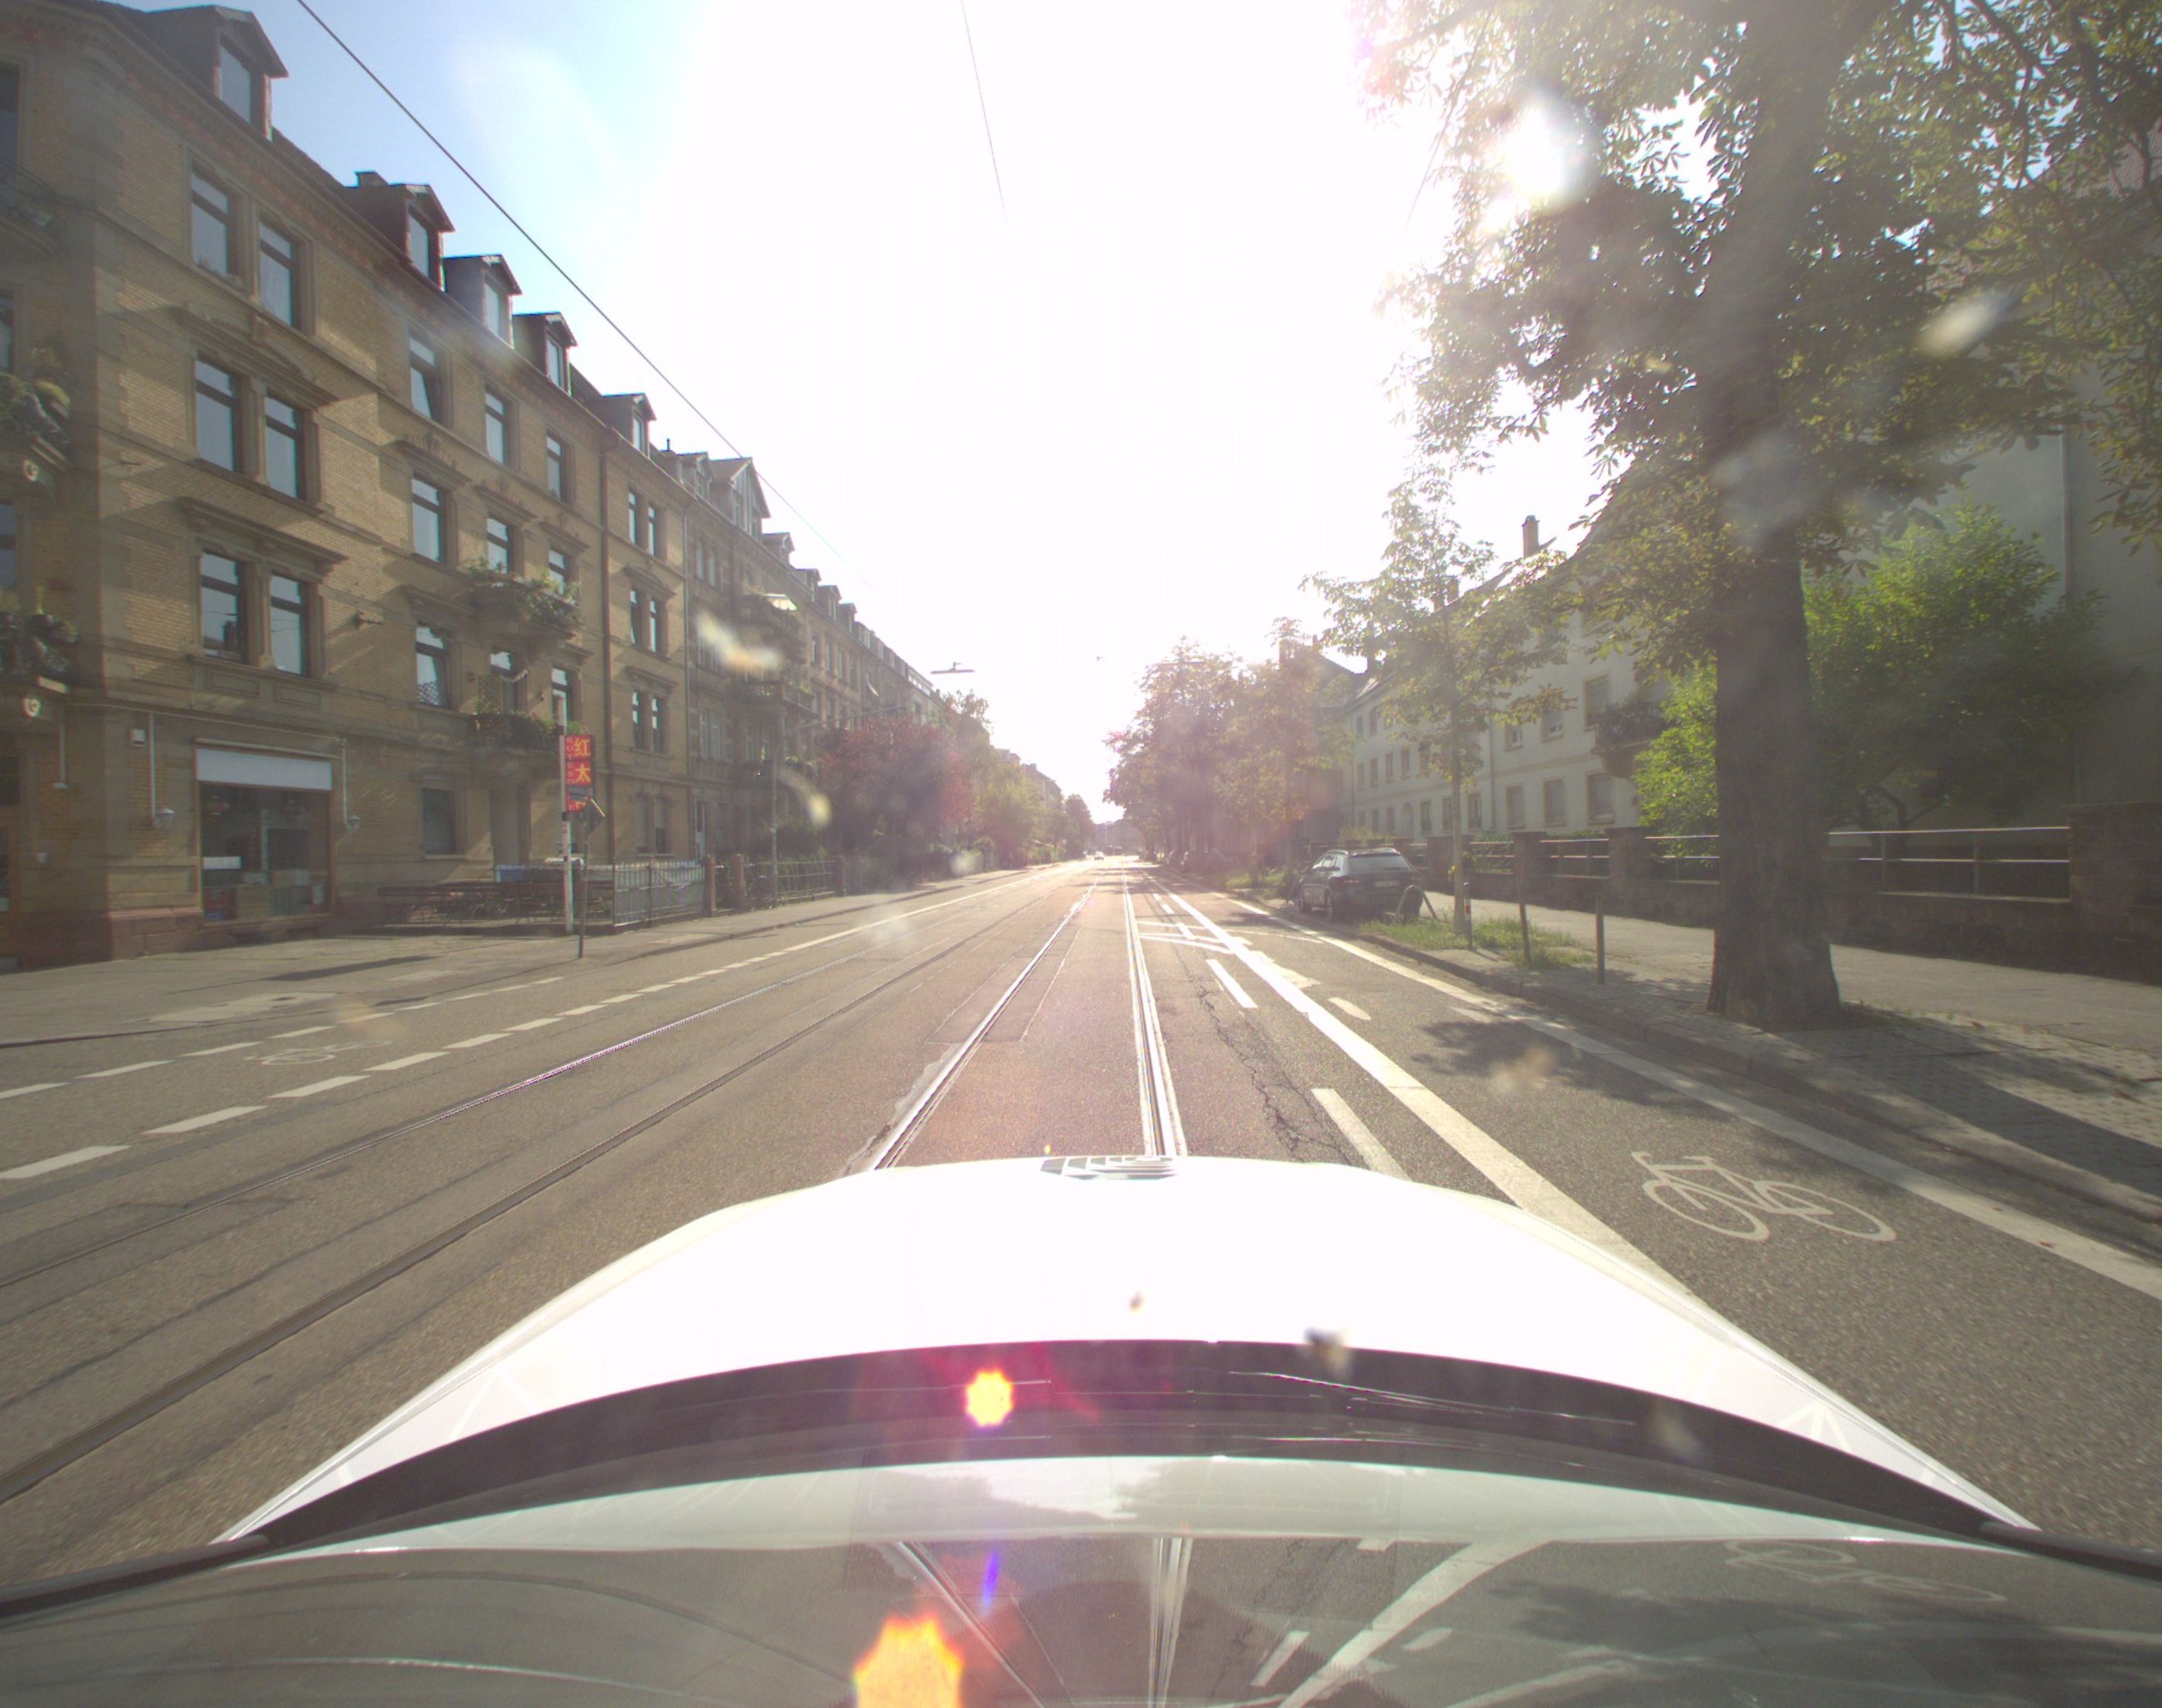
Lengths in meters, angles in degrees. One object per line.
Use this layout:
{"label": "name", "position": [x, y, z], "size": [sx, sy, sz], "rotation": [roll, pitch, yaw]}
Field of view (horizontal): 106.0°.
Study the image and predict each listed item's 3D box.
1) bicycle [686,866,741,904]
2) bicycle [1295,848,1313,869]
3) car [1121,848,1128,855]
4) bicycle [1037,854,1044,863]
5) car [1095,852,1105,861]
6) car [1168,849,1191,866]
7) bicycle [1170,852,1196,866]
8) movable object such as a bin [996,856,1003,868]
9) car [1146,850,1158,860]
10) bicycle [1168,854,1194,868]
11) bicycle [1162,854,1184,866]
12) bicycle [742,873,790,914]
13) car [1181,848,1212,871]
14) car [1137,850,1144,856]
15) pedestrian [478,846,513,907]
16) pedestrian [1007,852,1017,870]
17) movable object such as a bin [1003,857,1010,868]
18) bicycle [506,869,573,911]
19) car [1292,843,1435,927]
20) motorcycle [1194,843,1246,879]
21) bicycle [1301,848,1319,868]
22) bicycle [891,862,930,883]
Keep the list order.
{"label": "bicycle", "position": [-10.317, 0.867, 22.887], "size": [1.353, 1.060, 0.417], "rotation": [0, 0, -1]}
{"label": "bicycle", "position": [12.222, 0.221, 44.644], "size": [0.421, 1.104, 2.000], "rotation": [-1, 0, 0]}
{"label": "car", "position": [13.361, -0.689, 249.842], "size": [1.983, 2.013, 4.007], "rotation": [1, 0, 6]}
{"label": "bicycle", "position": [-5.234, 0.561, 105.091], "size": [0.558, 1.221, 2.116], "rotation": [-1, 0, 5]}
{"label": "car", "position": [3.656, 0.427, 157.683], "size": [1.720, 1.638, 3.987], "rotation": [-1, 0, 3]}
{"label": "car", "position": [8.841, 0.340, 73.432], "size": [1.764, 1.473, 3.977], "rotation": [-2, -1, 3]}
{"label": "bicycle", "position": [8.636, 0.438, 69.246], "size": [2.103, 1.105, 0.562], "rotation": [-1, 0, -5]}
{"label": "movable object such as a bin", "position": [-7.821, 0.787, 78.414], "size": [0.588, 1.078, 0.704], "rotation": [-1, 0, -4]}
{"label": "car", "position": [11.418, 0.164, 130.765], "size": [1.764, 1.473, 3.977], "rotation": [-2, -1, 3]}
{"label": "bicycle", "position": [8.553, 0.578, 69.767], "size": [2.103, 1.105, 0.562], "rotation": [-1, 0, -5]}
{"label": "bicycle", "position": [9.482, 0.634, 83.901], "size": [2.099, 1.105, 0.616], "rotation": [-3, 0, 1]}
{"label": "bicycle", "position": [-9.193, 1.129, 23.876], "size": [0.506, 1.107, 2.005], "rotation": [-1, 0, 3]}
{"label": "car", "position": [7.974, 0.371, 56.416], "size": [1.720, 1.504, 3.987], "rotation": [-3, 0, 3]}
{"label": "car", "position": [18.816, -0.253, 256.330], "size": [1.983, 1.783, 4.008], "rotation": [1, 0, 7]}
{"label": "pedestrian", "position": [-16.350, 0.623, 22.743], "size": [0.549, 1.667, 0.579], "rotation": [-2, 0, -8]}
{"label": "pedestrian", "position": [-6.452, 0.657, 76.178], "size": [0.749, 1.591, 0.879], "rotation": [-1, 0, 3]}
{"label": "movable object such as a bin", "position": [-7.151, 0.790, 78.461], "size": [0.630, 1.078, 0.704], "rotation": [-1, 0, -4]}
{"label": "bicycle", "position": [-14.478, 0.949, 21.796], "size": [1.478, 1.060, 0.417], "rotation": [-2, 0, -1]}
{"label": "car", "position": [6.056, 0.601, 18.067], "size": [1.736, 1.560, 4.723], "rotation": [-2, 0, 3]}
{"label": "motorcycle", "position": [6.927, 0.375, 40.603], "size": [0.919, 1.673, 2.390], "rotation": [-3, 0, -43]}
{"label": "bicycle", "position": [12.521, 0.205, 44.608], "size": [0.423, 1.104, 2.000], "rotation": [-1, 0, 0]}
{"label": "bicycle", "position": [-9.641, 1.051, 46.097], "size": [2.009, 1.104, 0.588], "rotation": [-1, 0, -1]}
